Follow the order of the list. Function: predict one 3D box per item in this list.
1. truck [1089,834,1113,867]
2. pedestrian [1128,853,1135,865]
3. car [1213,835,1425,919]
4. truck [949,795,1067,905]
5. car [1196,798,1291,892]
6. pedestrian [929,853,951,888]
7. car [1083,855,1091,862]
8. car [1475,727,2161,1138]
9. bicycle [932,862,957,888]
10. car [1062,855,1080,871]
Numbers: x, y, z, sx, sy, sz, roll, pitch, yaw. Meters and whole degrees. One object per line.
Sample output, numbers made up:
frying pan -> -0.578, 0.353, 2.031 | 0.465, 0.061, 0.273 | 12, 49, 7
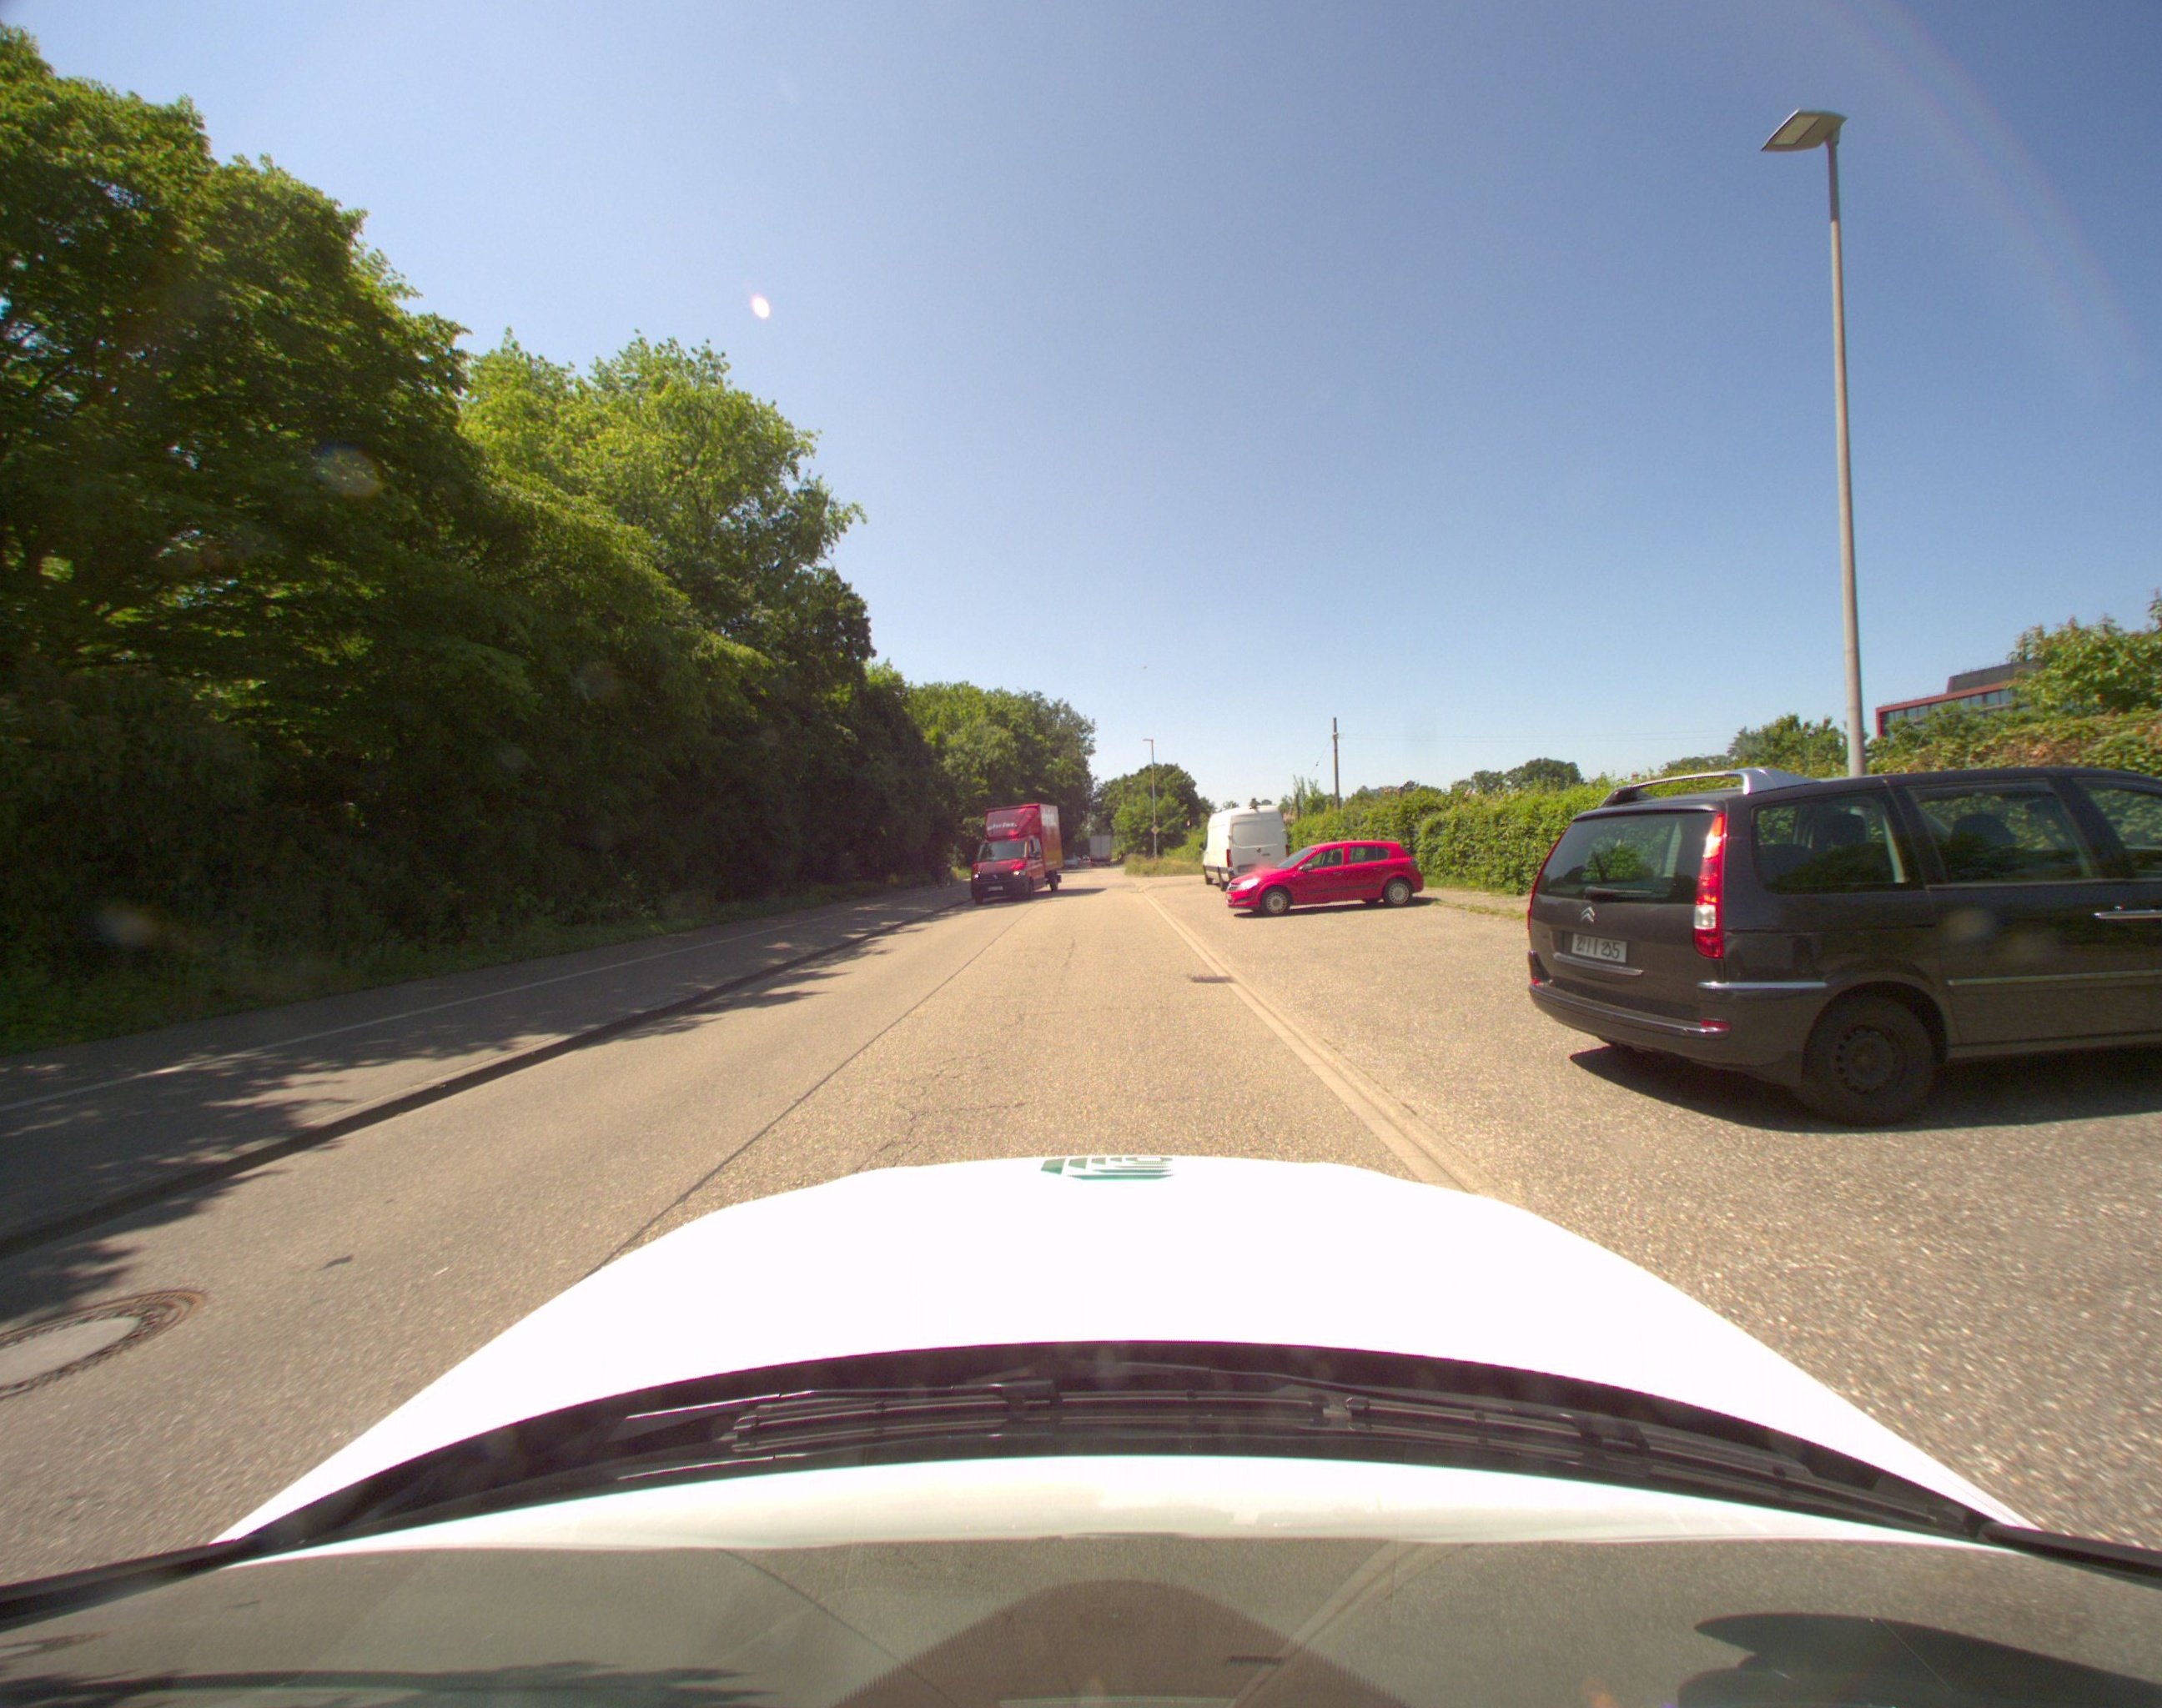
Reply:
truck -> 2.521, -0.429, 99.566 | 2.723, 3.746, 13.250 | -1, 0, 2
pedestrian -> 7.180, 0.682, 116.348 | 0.860, 1.677, 0.885 | -2, 0, 0
car -> 5.122, 0.477, 17.894 | 4.044, 1.434, 1.834 | -4, 0, -2
truck -> -2.476, -0.169, 30.281 | 2.308, 3.440, 7.181 | -5, 0, 10
car -> 5.456, -0.295, 28.377 | 1.947, 2.733, 7.171 | -4, 0, 2
pedestrian -> -7.132, 0.814, 41.108 | 0.802, 1.718, 0.780 | -1, 0, 16
car -> 1.731, 1.308, 237.284 | 1.986, 1.684, 4.264 | -2, 0, 2
car -> 5.148, 0.296, 5.006 | 4.444, 1.805, 1.950 | -4, -1, -4
bicycle -> -6.834, 1.039, 40.986 | 0.518, 1.236, 1.968 | -1, -1, 13
car -> -1.083, 0.982, 89.778 | 1.785, 1.572, 4.272 | -2, 0, 1
